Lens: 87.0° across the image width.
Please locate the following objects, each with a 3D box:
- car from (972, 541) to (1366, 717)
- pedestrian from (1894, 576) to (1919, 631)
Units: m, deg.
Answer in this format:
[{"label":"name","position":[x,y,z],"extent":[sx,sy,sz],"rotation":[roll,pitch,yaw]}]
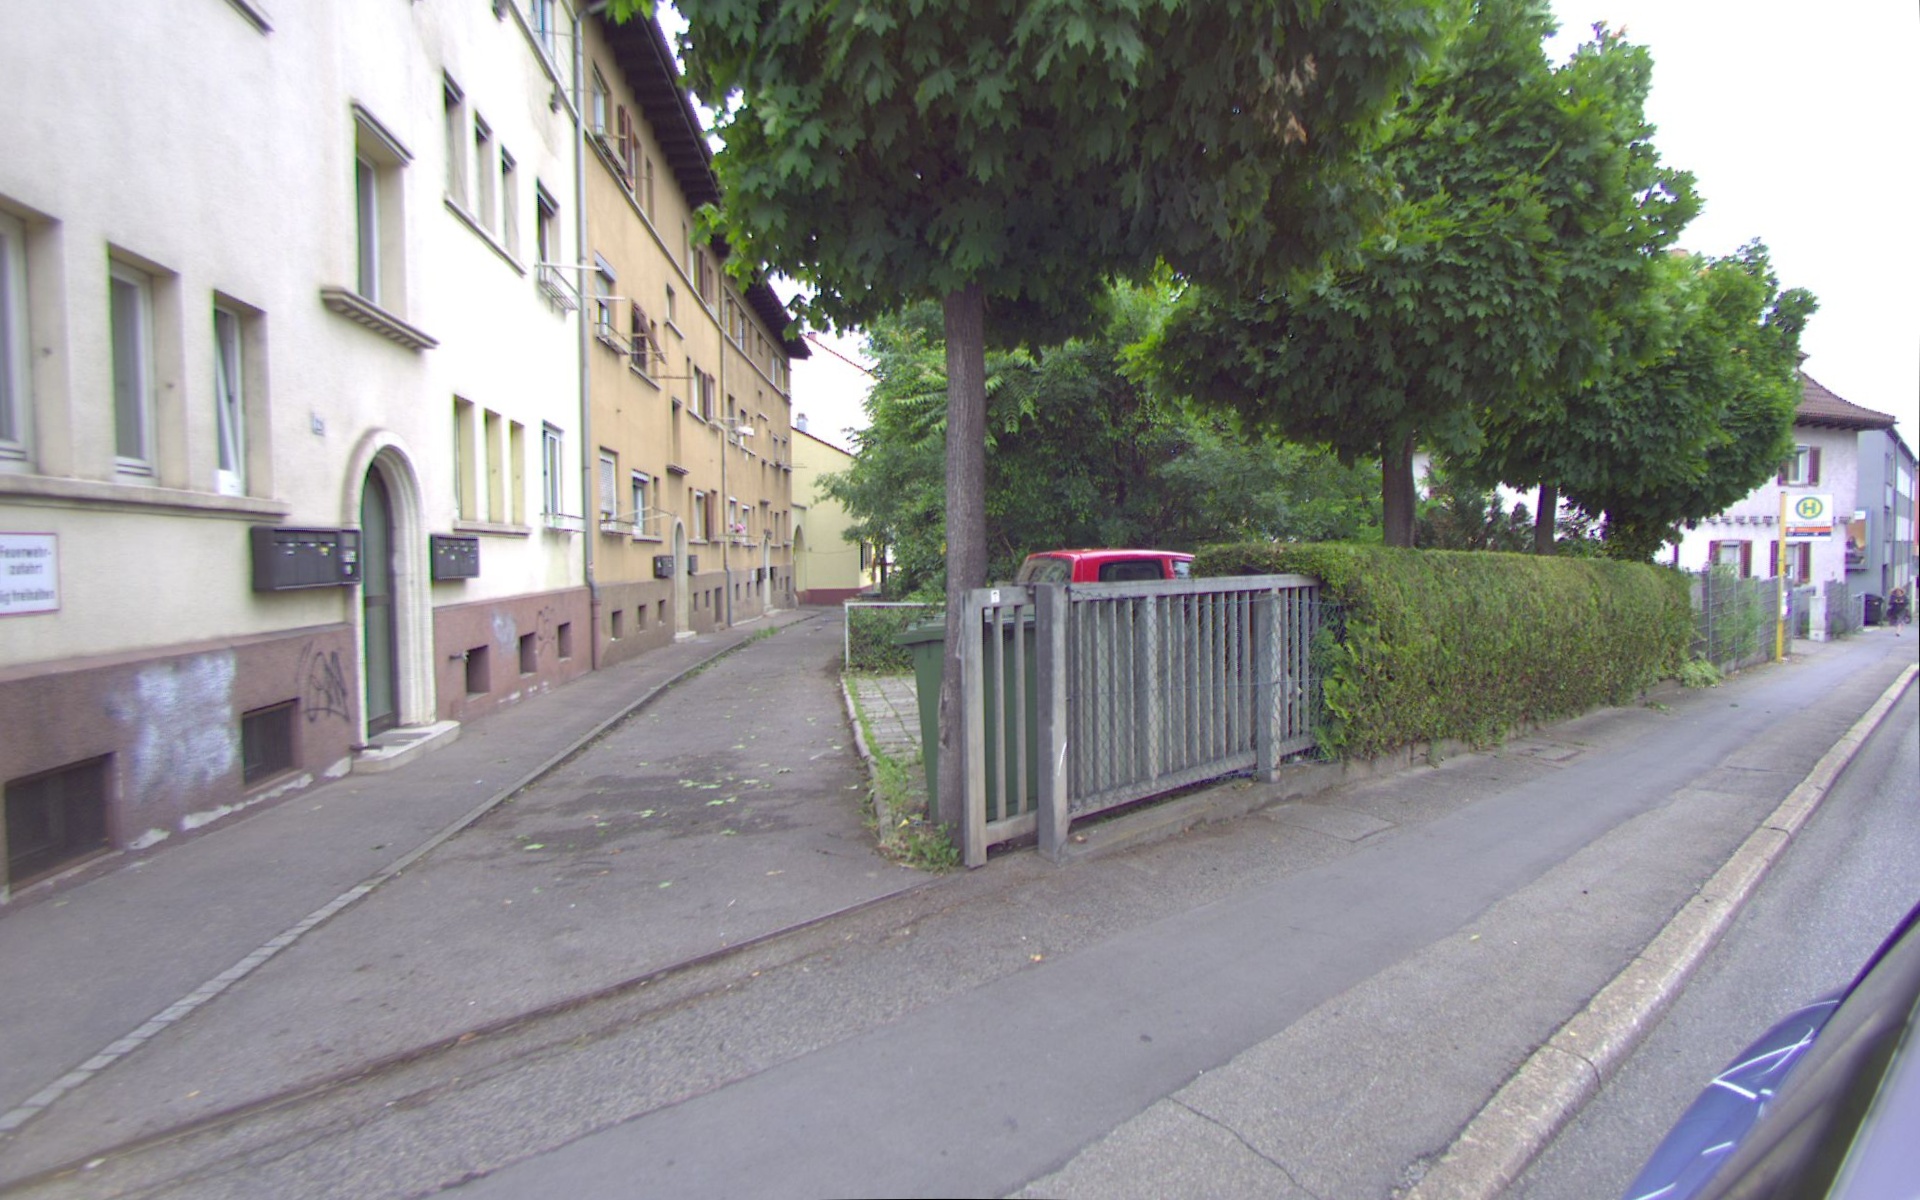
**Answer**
[{"label":"car","position":[2.004,0.207,9.882],"extent":[3.367,1.478,1.705],"rotation":[-1,1,-21]},{"label":"pedestrian","position":[32.921,0.114,35.034],"extent":[0.580,1.863,0.649],"rotation":[0,1,-22]}]
